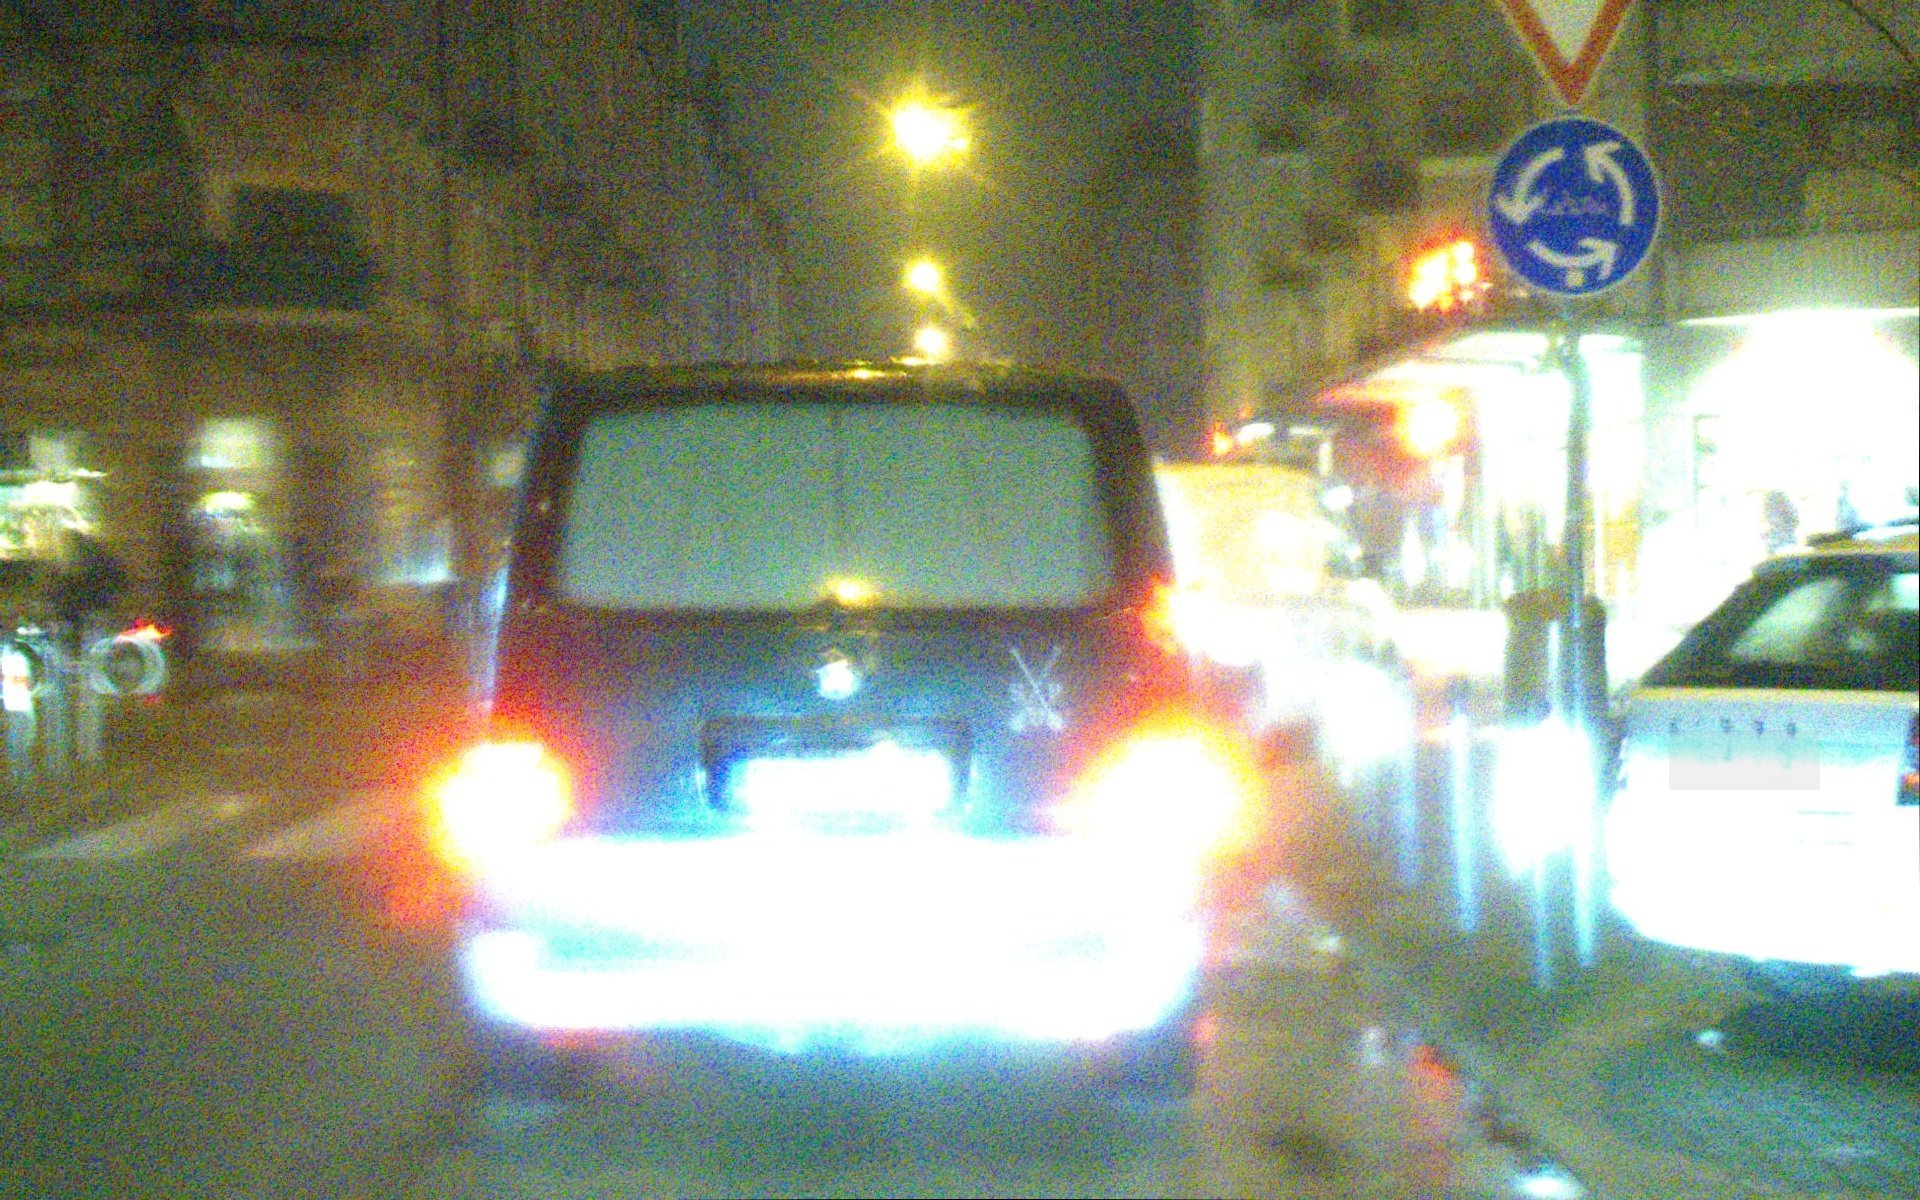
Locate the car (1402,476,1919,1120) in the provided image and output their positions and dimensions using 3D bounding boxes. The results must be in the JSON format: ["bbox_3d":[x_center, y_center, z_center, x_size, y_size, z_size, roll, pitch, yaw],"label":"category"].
[{"bbox_3d":[3.608,0.379,10.223,4.249,1.568,1.772,-4,1,-28],"label":"car"}]

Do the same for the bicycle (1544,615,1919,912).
[{"bbox_3d":[2.946,0.575,12.609,1.645,1.023,0.335,0,3,44],"label":"bicycle"}]

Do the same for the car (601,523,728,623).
[{"bbox_3d":[-4.570,-0.447,53.609,1.586,1.458,4.024,2,1,0],"label":"car"}]

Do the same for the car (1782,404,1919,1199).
[{"bbox_3d":[3.753,0.359,7.368,3.729,1.706,1.771,-4,2,-35],"label":"car"}]

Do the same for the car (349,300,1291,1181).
[{"bbox_3d":[-0.321,0.280,10.136,2.122,1.984,4.601,-1,1,0],"label":"car"}]

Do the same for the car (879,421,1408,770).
[{"bbox_3d":[1.303,-0.081,21.512,2.124,1.915,4.822,0,1,18],"label":"car"}]

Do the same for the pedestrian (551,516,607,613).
[{"bbox_3d":[-6.979,-0.651,62.960,0.804,1.760,1.015,1,0,6],"label":"pedestrian"}]
